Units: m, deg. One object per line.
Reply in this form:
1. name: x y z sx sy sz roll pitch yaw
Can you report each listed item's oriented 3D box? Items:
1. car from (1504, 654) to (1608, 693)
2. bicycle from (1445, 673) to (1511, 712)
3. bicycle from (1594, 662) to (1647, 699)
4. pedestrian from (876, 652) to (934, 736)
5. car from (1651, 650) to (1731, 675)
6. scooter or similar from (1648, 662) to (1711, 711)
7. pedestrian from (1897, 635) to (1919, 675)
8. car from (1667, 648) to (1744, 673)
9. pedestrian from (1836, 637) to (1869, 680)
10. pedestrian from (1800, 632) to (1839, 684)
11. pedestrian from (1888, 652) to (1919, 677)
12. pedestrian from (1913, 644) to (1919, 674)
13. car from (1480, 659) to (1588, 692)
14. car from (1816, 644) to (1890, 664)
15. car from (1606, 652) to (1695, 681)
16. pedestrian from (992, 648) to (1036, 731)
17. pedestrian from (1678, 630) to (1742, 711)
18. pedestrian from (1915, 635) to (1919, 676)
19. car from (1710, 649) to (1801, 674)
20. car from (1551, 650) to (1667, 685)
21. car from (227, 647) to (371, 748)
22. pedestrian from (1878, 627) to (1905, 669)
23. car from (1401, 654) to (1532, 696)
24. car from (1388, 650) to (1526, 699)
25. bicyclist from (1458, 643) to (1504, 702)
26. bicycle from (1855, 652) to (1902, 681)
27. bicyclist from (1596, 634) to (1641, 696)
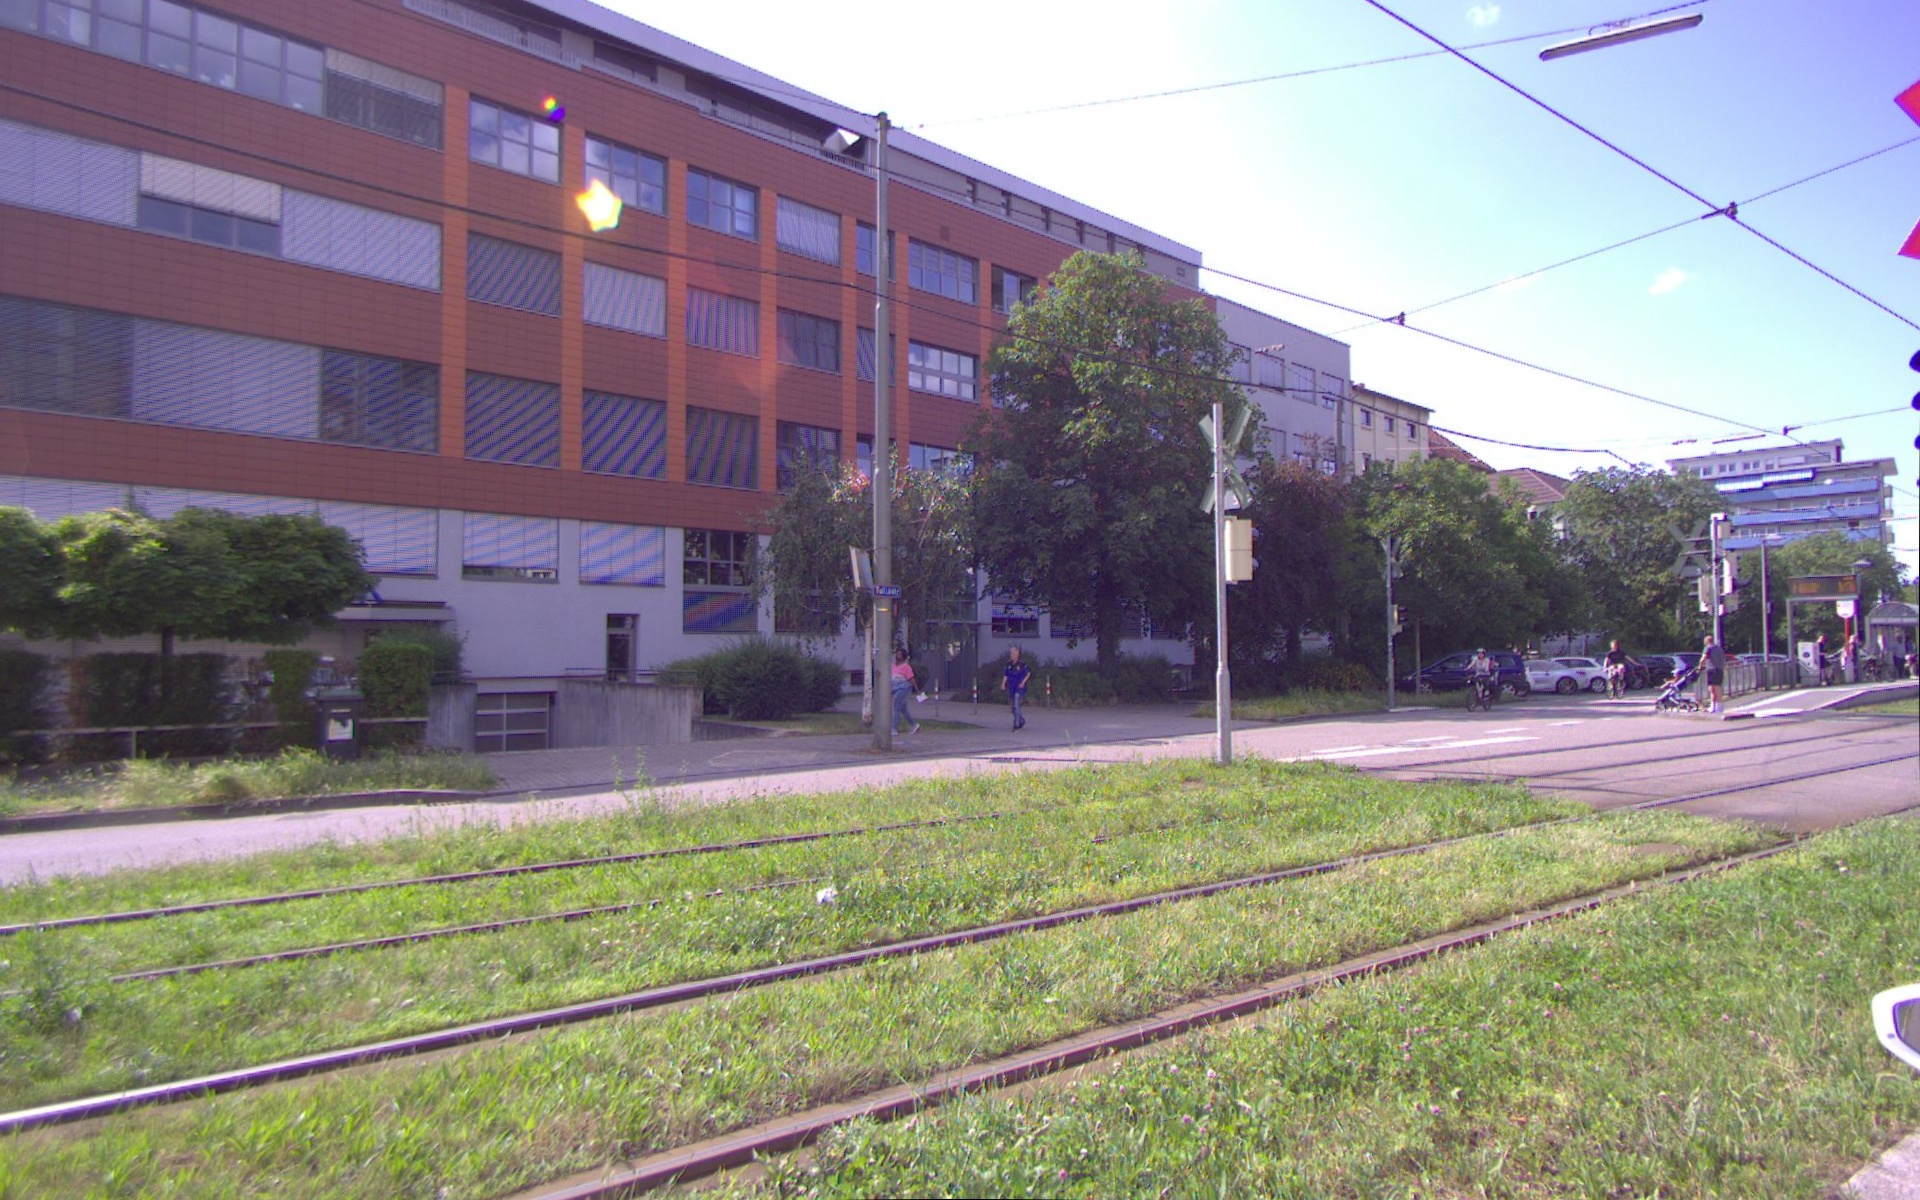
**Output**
1. car: 24.394 3.018 41.231 3.320 1.524 1.546 -1 -3 14
2. bicycle: 14.326 2.544 27.749 2.157 0.983 0.676 2 -4 -35
3. bicycle: 22.361 2.715 34.004 1.143 1.193 1.777 -5 -6 44
4. pedestrian: -1.085 1.824 19.657 0.879 1.594 0.742 3 -4 -30
5. car: 39.680 3.393 54.600 3.181 1.326 1.457 -1 -3 6
6. scooter or similar: 16.738 2.012 23.368 0.790 1.078 0.947 2 -6 -39
7. pedestrian: 41.698 2.430 44.140 0.551 1.758 0.590 1 -4 -34
8. car: 42.007 3.403 56.646 3.181 1.326 1.457 -1 -3 6
9. pedestrian: 33.360 2.199 37.534 0.678 1.589 0.661 1 -5 -31
10. pedestrian: 29.339 1.974 34.290 0.654 1.749 0.715 -1 -3 4
11. pedestrian: 39.874 2.727 42.341 0.790 1.001 0.918 3 -5 -36
12. pedestrian: 47.247 2.891 49.379 0.482 1.470 0.461 -4 -5 42
13. car: 22.343 2.942 39.226 3.320 1.252 1.546 -1 -3 12
14. car: 67.527 4.098 76.006 3.919 1.403 1.641 -1 -3 6
15. car: 33.388 3.219 48.621 3.181 1.326 1.457 -1 -3 3
16. pedestrian: 1.120 1.841 20.863 0.738 1.678 0.554 2 -4 -30
17. pedestrian: 17.187 1.622 23.012 0.995 1.798 0.864 2 -6 -40
18. pedestrian: 42.764 2.443 44.364 0.631 1.789 0.602 1 -3 -29
19. car: 47.921 3.720 60.565 3.919 1.385 1.718 -2 -4 11
20. car: 28.731 2.993 44.570 3.919 1.475 1.692 -2 -4 12
21. car: -12.129 1.692 18.406 1.980 1.616 3.962 2 -4 -35
22. pedestrian: 38.508 1.992 41.525 0.650 1.714 0.650 2 -4 -38
23. car: 18.937 2.812 37.744 4.049 1.518 1.727 -1 -3 12
24. car: 17.566 2.648 35.704 4.049 1.662 1.727 -1 -3 12
25. bicyclist: 14.447 2.013 27.858 0.855 1.602 0.780 1 -4 -35
26. bicycle: 33.653 2.438 36.811 1.749 0.987 0.683 1 -6 -29
27. bicyclist: 22.326 2.180 34.042 0.938 2.040 1.567 -3 -4 44
